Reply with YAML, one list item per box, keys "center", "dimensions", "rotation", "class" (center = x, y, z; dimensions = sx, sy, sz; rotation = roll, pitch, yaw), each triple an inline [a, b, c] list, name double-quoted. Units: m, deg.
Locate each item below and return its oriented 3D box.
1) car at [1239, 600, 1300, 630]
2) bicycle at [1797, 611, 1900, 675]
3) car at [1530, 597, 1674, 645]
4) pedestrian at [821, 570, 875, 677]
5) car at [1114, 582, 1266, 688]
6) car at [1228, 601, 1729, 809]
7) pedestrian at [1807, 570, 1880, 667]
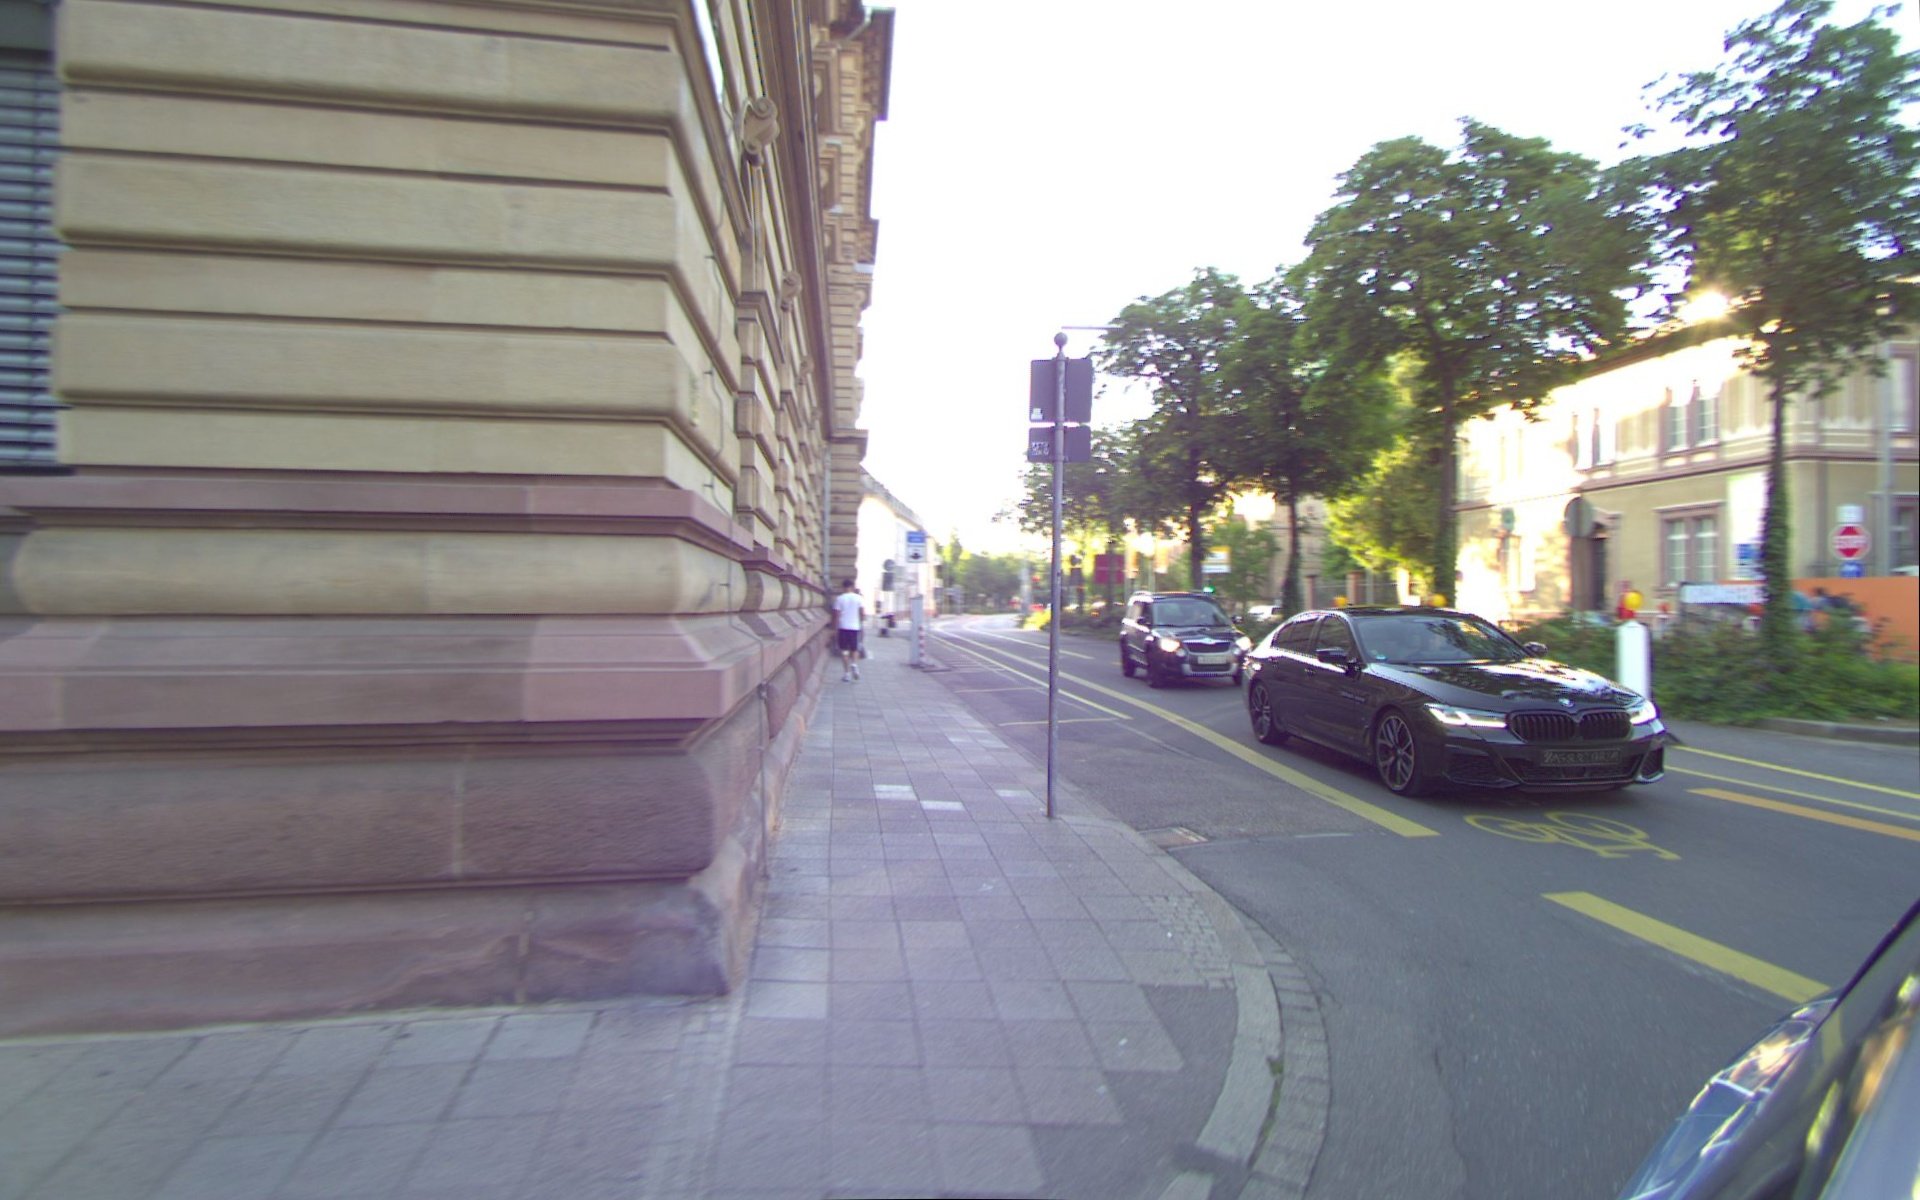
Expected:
- center: [17.283, 0.846, 56.649]
  dimensions: [1.715, 1.567, 4.373]
  rotation: [-1, 0, -5]
  class: "car"
- center: [15.756, 0.734, 18.007]
  dimensions: [0.755, 1.051, 2.103]
  rotation: [-1, 0, 24]
  class: "bicycle"
- center: [19.933, 0.624, 31.633]
  dimensions: [1.650, 1.368, 3.892]
  rotation: [1, -1, -8]
  class: "car"
- center: [-1.939, 0.400, 17.658]
  dimensions: [0.804, 1.788, 1.038]
  rotation: [-1, -1, -1]
  class: "pedestrian"
- center: [4.141, 0.573, 18.921]
  dimensions: [1.805, 1.705, 4.223]
  rotation: [-2, 0, 0]
  class: "car"
- center: [4.231, 0.724, 9.393]
  dimensions: [1.927, 1.404, 4.784]
  rotation: [0, 0, -4]
  class: "car"
- center: [15.786, 0.324, 18.112]
  dimensions: [0.729, 1.695, 0.888]
  rotation: [-1, -1, 24]
  class: "pedestrian"
